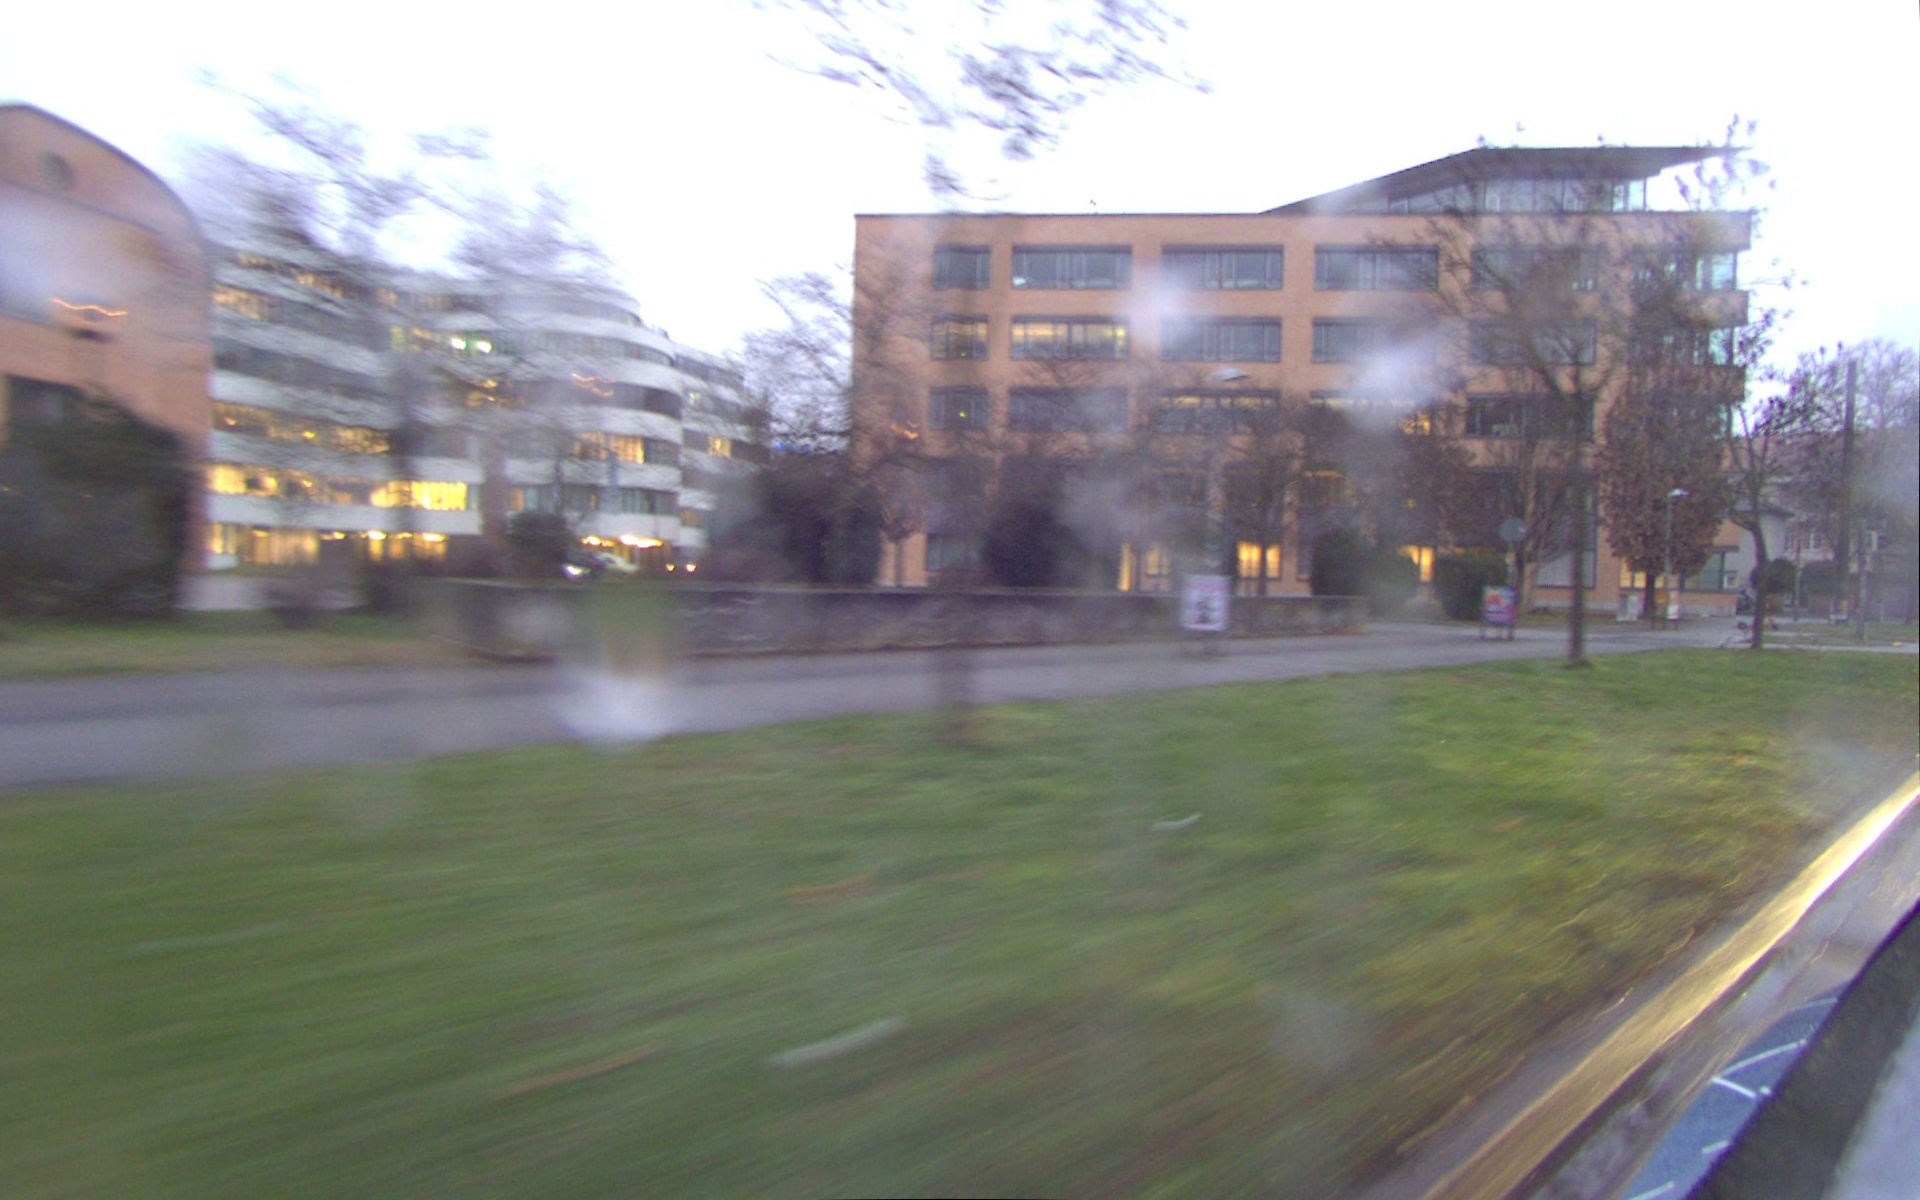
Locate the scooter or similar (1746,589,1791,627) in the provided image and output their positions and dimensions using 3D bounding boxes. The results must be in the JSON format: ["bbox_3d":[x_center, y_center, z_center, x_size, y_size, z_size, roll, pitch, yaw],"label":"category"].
[{"bbox_3d":[28.035,0.272,35.112,1.138,1.247,0.482,2,1,34],"label":"scooter or similar"}]

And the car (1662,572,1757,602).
[{"bbox_3d":[46.768,-0.825,63.213,1.967,1.690,4.503,0,2,-43],"label":"car"}]
